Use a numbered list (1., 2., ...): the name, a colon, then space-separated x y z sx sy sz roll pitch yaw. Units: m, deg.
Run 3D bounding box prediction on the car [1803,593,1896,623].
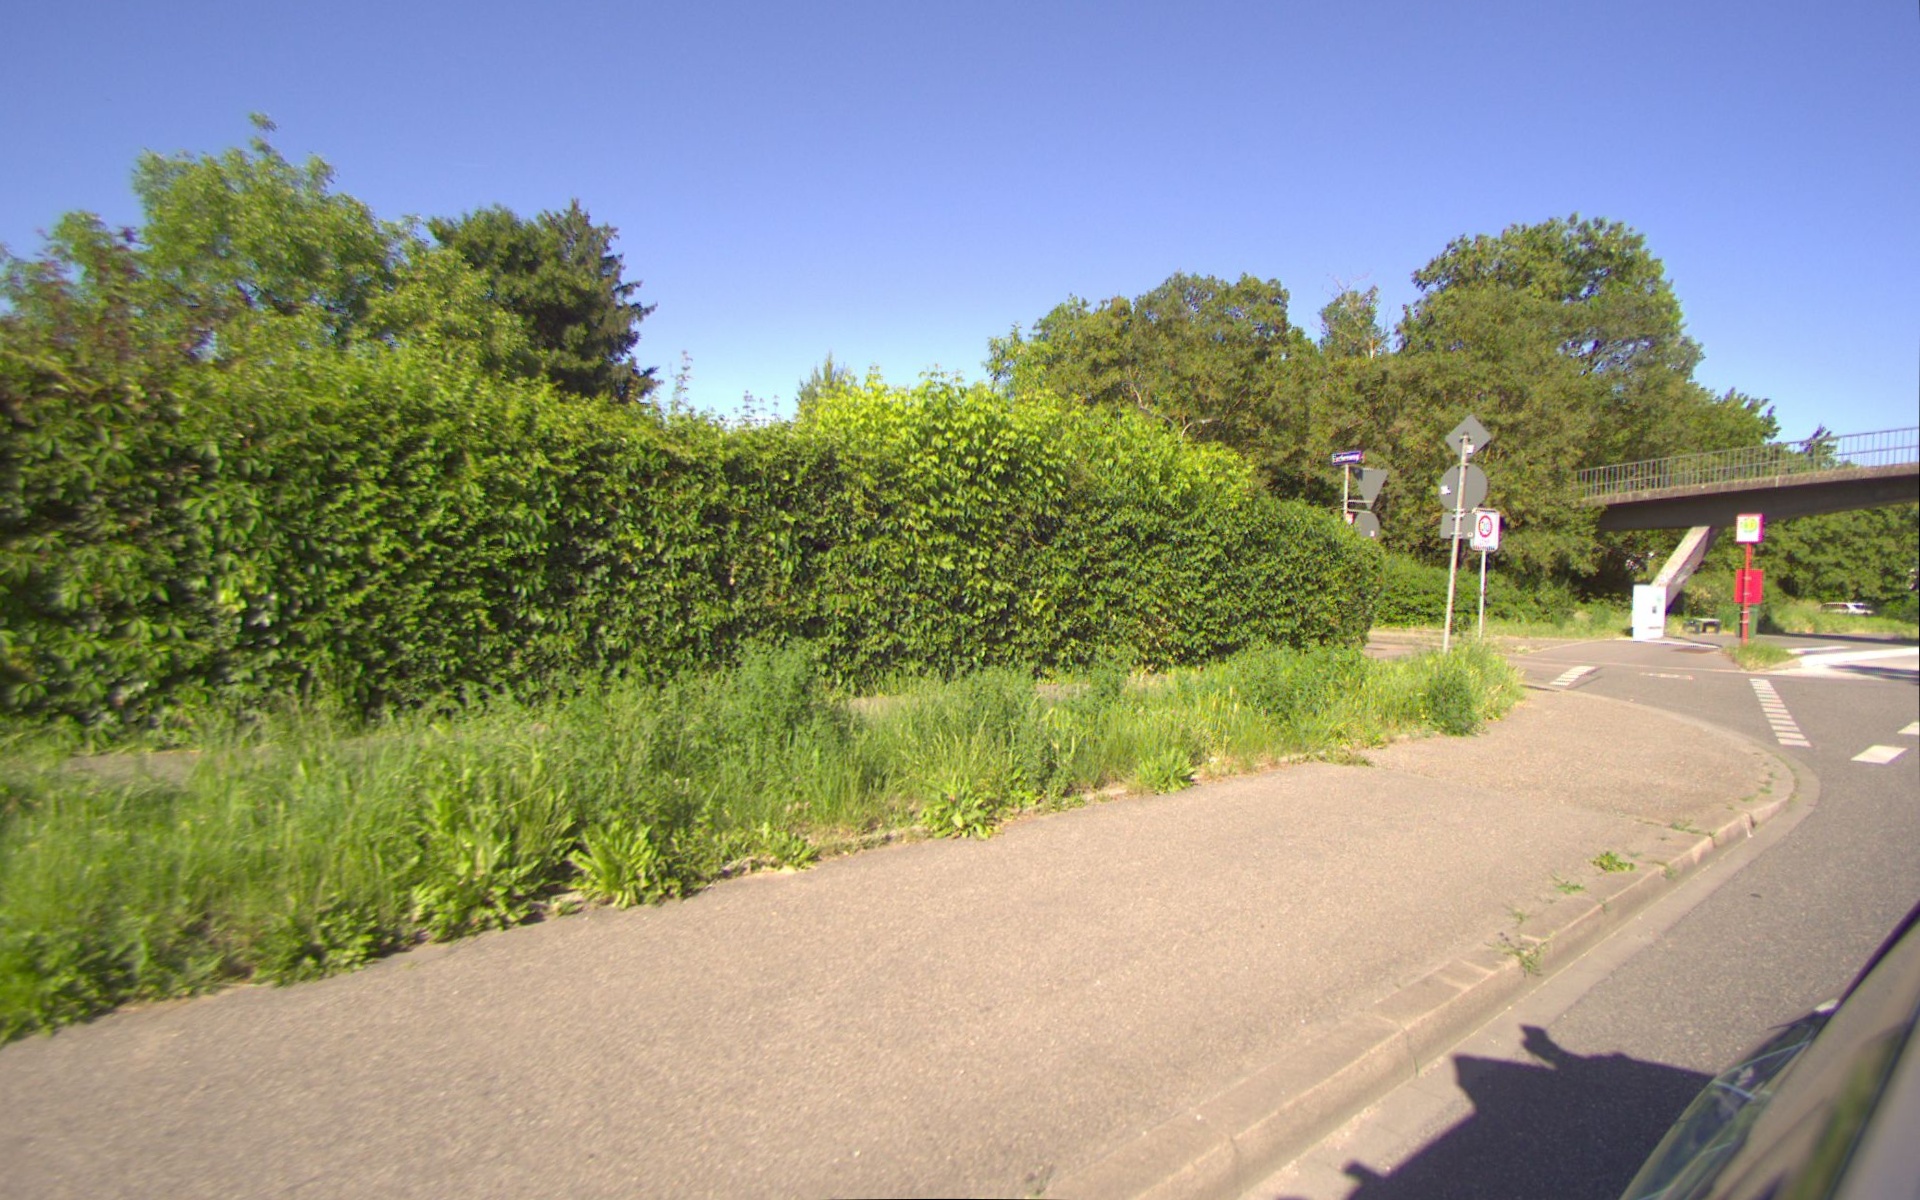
1. car: 64.255 0.545 73.183 2.029 1.892 4.539 3 0 -29
